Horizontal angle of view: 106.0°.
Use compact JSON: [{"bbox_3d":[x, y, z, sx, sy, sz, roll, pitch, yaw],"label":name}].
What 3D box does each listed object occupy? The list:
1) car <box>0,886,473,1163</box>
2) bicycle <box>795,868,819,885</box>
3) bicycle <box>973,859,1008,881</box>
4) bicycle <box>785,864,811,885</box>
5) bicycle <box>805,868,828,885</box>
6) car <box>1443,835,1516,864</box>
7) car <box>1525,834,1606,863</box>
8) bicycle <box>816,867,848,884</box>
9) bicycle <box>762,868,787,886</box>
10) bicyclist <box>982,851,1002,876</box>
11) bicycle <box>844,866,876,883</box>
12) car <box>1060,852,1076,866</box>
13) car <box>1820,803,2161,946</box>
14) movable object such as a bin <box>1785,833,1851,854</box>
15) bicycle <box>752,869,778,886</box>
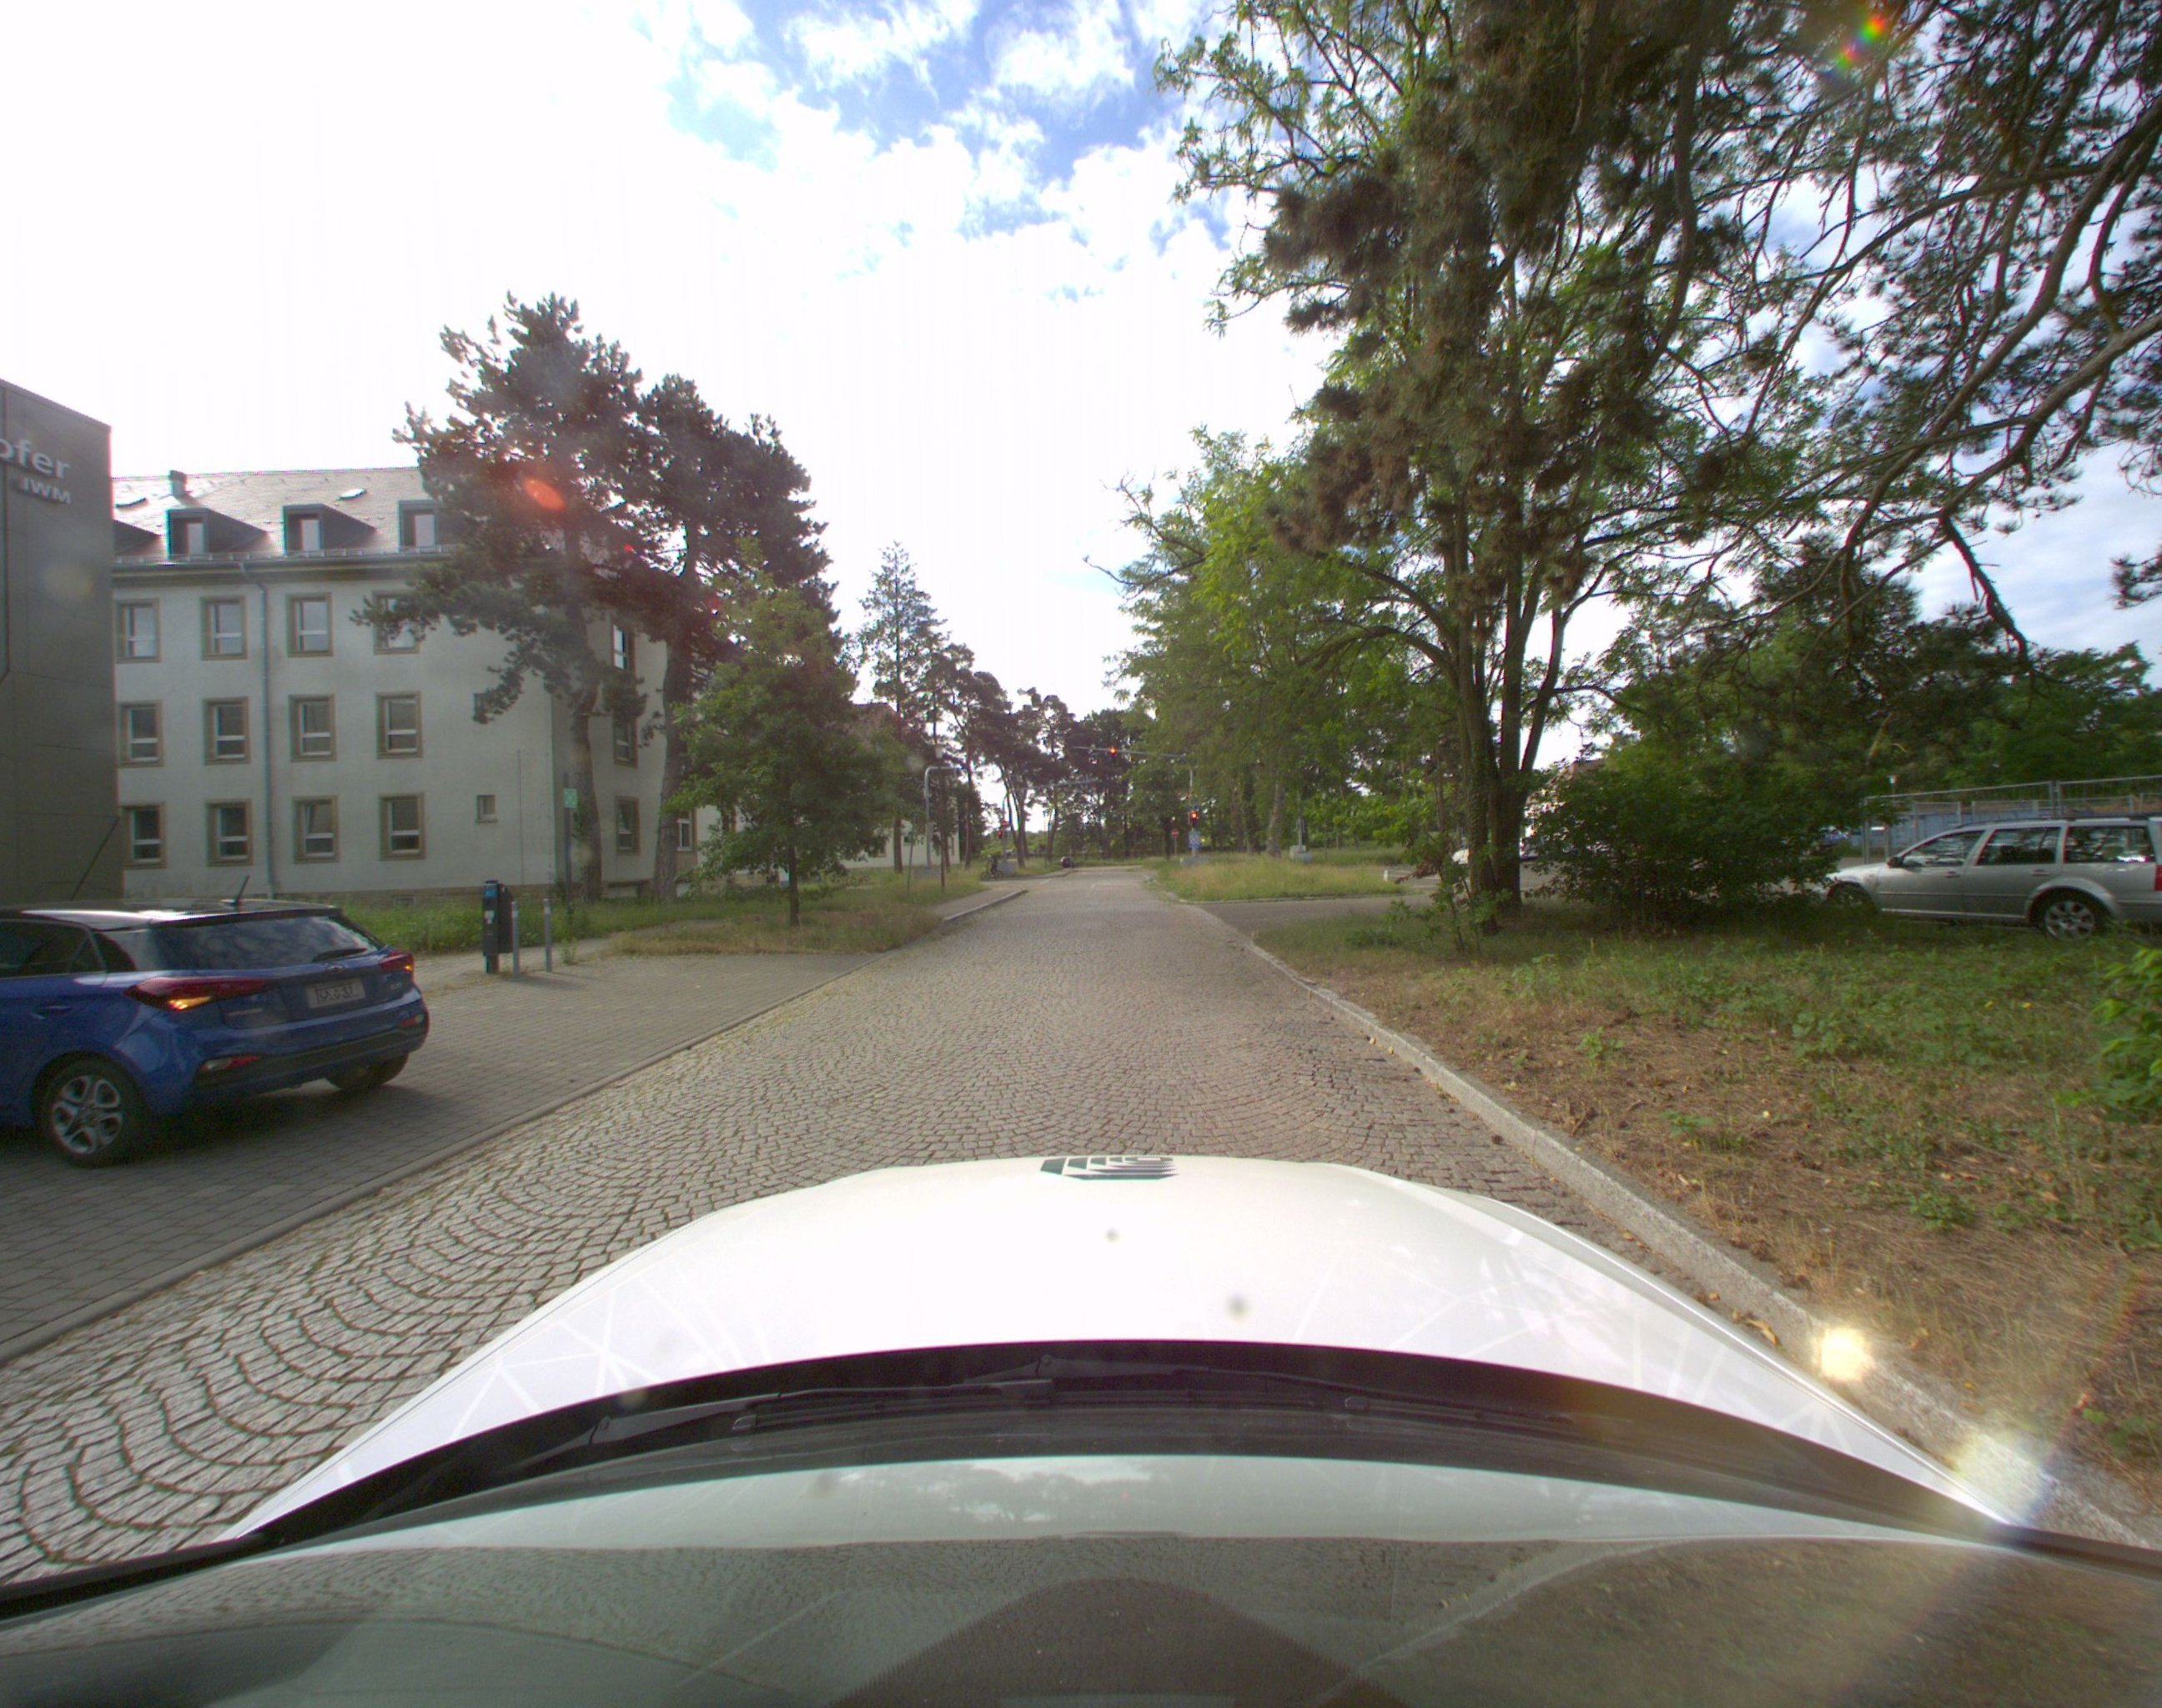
[{"bbox_3d":[-6.753,1.017,5.636,3.748,1.478,1.854,-1,0,4],"label":"car"},{"bbox_3d":[-18.741,1.527,55.709,0.733,1.076,2.274,-2,0,2],"label":"bicycle"},{"bbox_3d":[-6.087,1.063,54.902,2.197,1.387,0.928,-2,0,-39],"label":"bicycle"},{"bbox_3d":[-19.475,1.405,56.082,0.733,1.385,2.713,-2,0,2],"label":"bicycle"},{"bbox_3d":[-18.098,1.498,55.774,0.733,1.076,2.274,-2,0,2],"label":"bicycle"},{"bbox_3d":[23.092,-0.225,47.393,1.988,1.481,4.422,-2,-1,-2],"label":"car"},{"bbox_3d":[28.277,-0.280,47.744,1.988,1.481,4.422,-2,-1,-2],"label":"car"},{"bbox_3d":[-16.659,1.436,54.488,1.848,1.076,0.739,-2,0,3],"label":"bicycle"},{"bbox_3d":[-20.927,1.561,55.732,0.733,1.076,2.274,-2,0,2],"label":"bicycle"},{"bbox_3d":[-6.000,0.643,54.996,0.928,1.697,0.946,-1,-1,-39],"label":"bicyclist"},{"bbox_3d":[-14.776,1.380,54.483,1.848,1.076,0.832,-2,0,3],"label":"bicycle"},{"bbox_3d":[-1.785,0.673,111.553,2.048,1.846,4.001,-2,0,1],"label":"car"},{"bbox_3d":[11.616,0.212,9.895,1.640,1.427,4.073,1,0,1],"label":"car"},{"bbox_3d":[31.486,-0.434,34.832,1.179,0.825,1.957,-2,0,6],"label":"movable object such as a bin"},{"bbox_3d":[-21.655,1.583,55.821,0.733,1.076,2.274,-2,0,2],"label":"bicycle"}]
